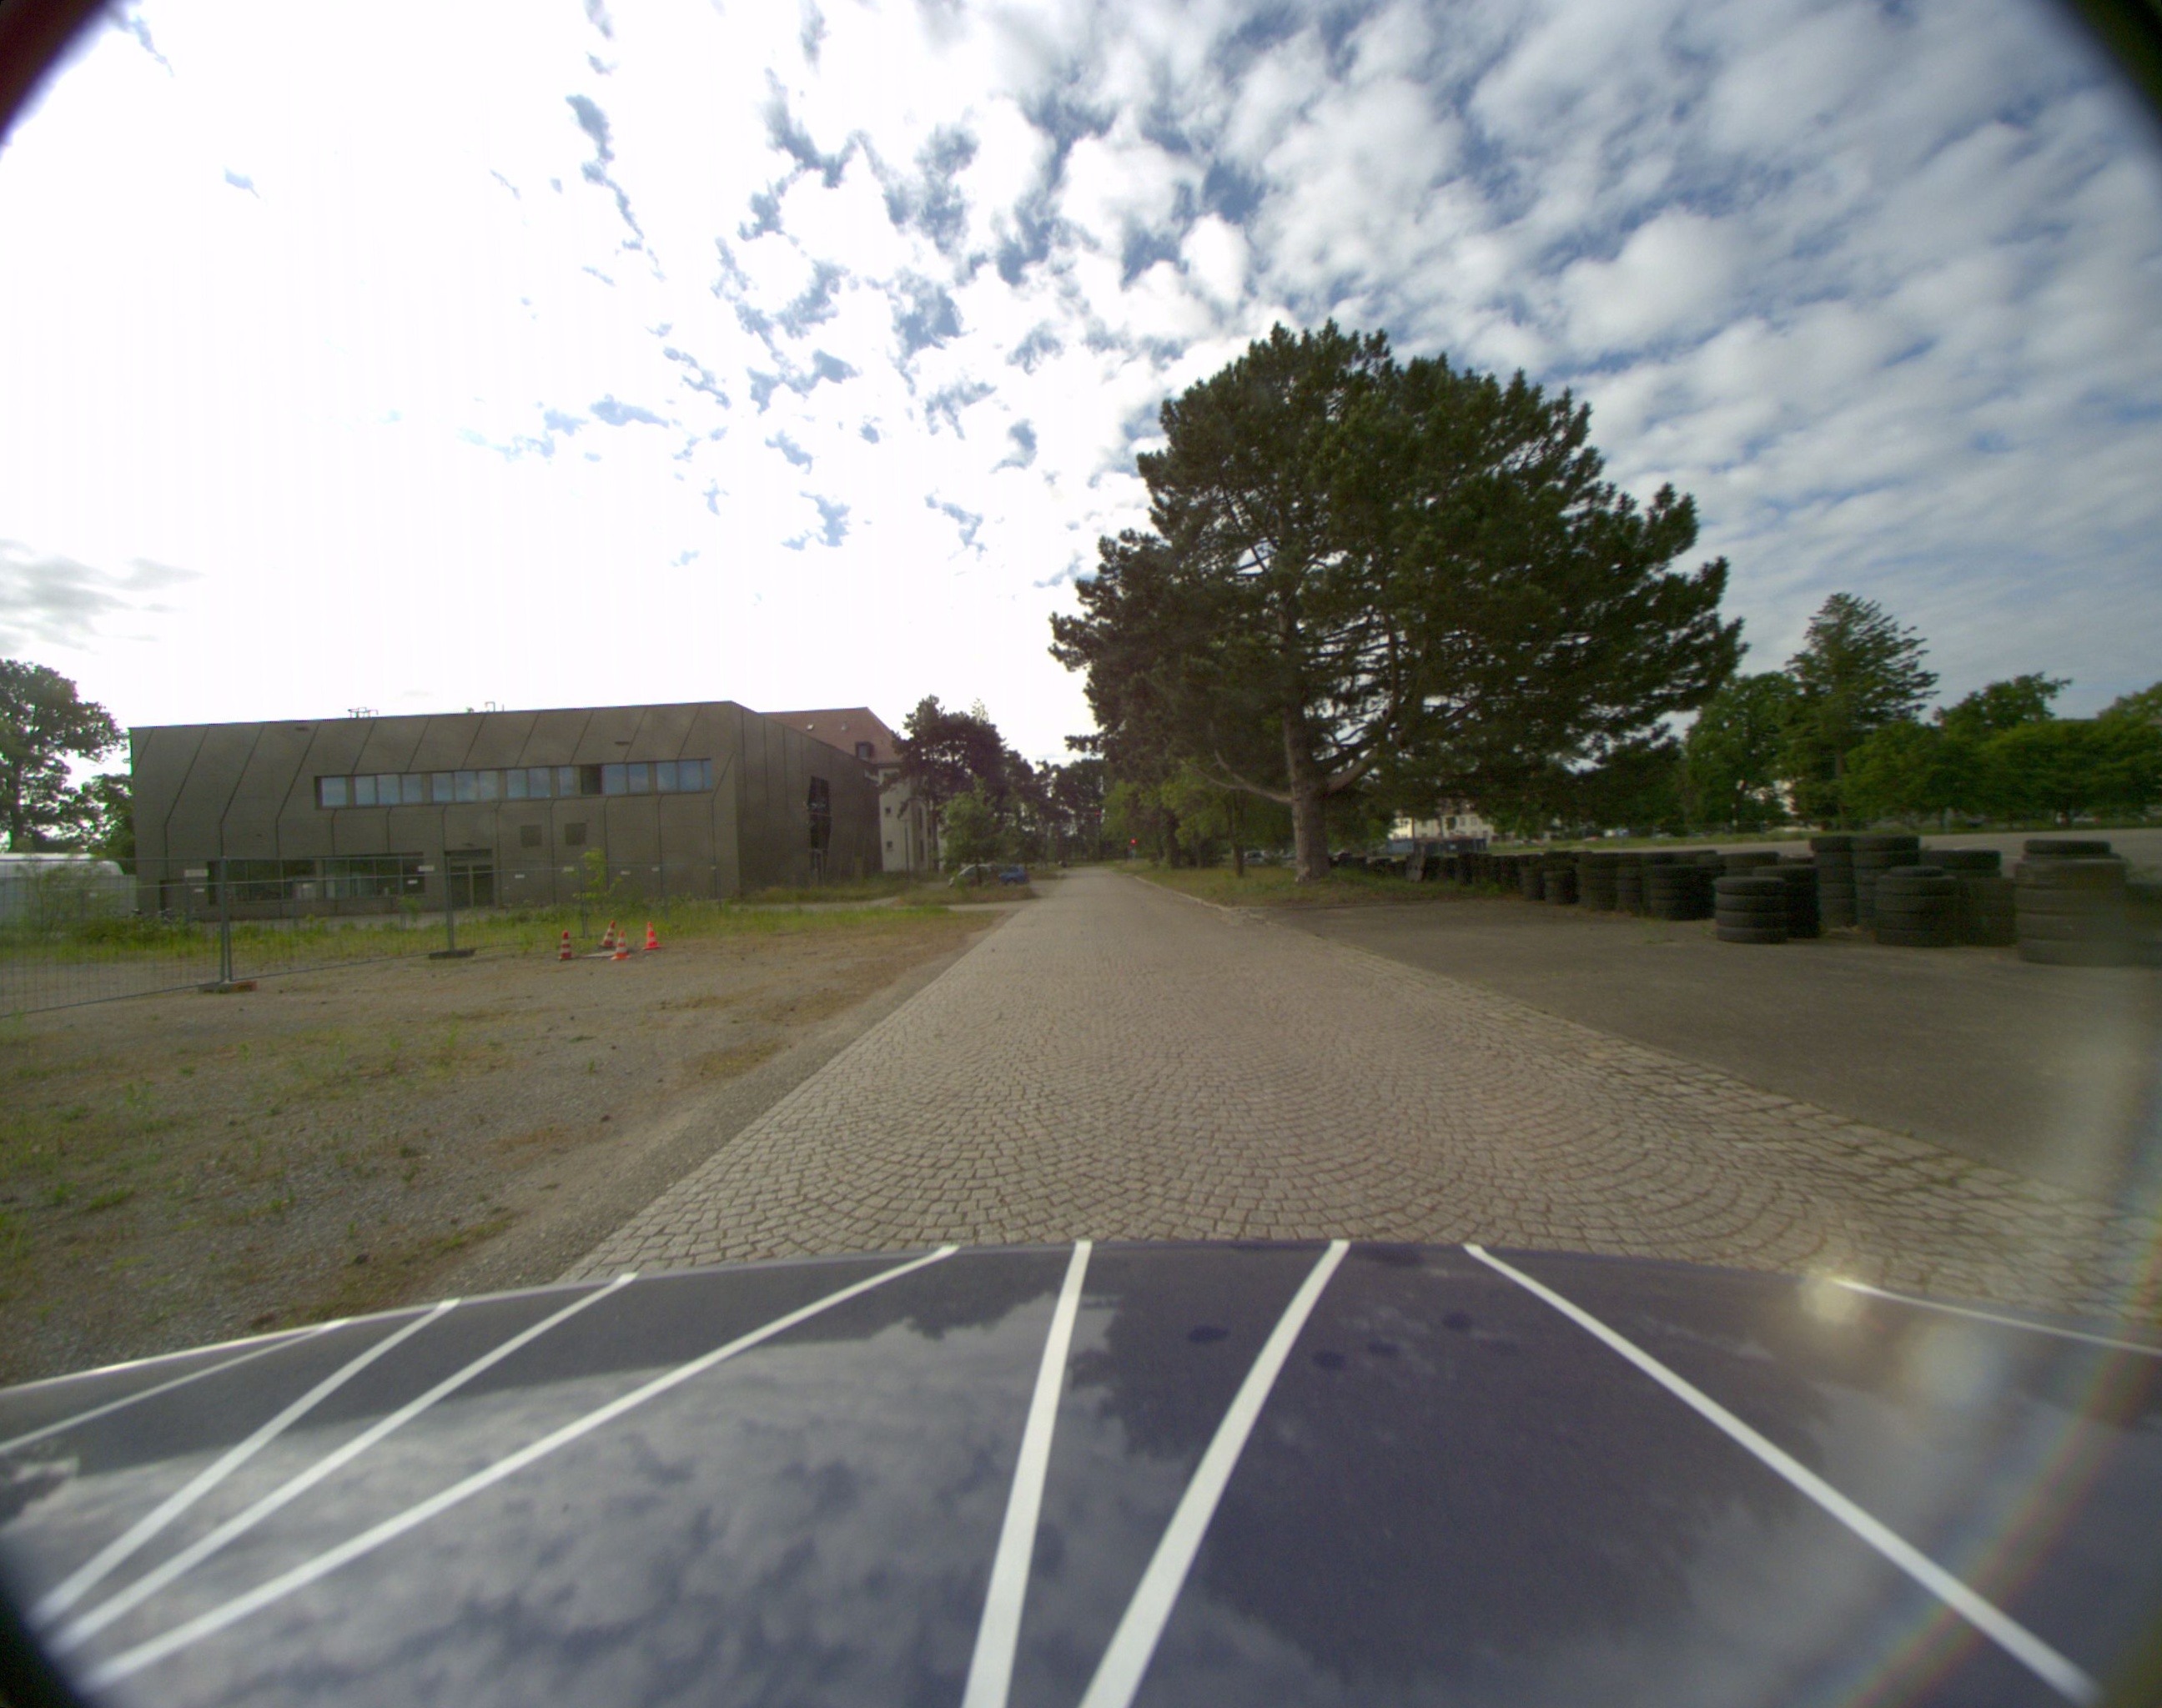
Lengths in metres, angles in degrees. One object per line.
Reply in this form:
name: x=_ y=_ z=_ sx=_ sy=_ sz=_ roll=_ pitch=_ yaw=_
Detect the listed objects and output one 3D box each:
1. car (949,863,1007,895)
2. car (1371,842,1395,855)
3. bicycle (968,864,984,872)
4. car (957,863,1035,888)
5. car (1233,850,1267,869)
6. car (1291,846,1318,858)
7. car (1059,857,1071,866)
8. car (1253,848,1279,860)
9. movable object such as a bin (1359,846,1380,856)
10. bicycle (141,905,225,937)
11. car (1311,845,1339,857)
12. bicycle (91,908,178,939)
car: x=-5.231 y=1.275 z=38.857 sx=2.748 sy=1.573 sz=1.683 roll=0 pitch=0 yaw=0
car: x=43.377 y=-0.761 z=109.193 sx=1.749 sy=1.674 sz=3.803 roll=-3 pitch=0 yaw=-4
bicycle: x=-14.431 y=1.931 z=104.461 sx=2.164 sy=1.088 sz=0.717 roll=-3 pitch=0 yaw=-3
car: x=-5.135 y=1.300 z=46.197 sx=4.537 sy=1.441 sz=1.932 roll=0 pitch=0 yaw=-2
car: x=13.372 y=0.422 z=60.307 sx=1.670 sy=1.402 sz=3.723 roll=-3 pitch=0 yaw=-2
car: x=28.861 y=-0.273 z=98.334 sx=1.999 sy=1.441 sz=4.452 roll=-3 pitch=0 yaw=-3
car: x=-3.410 y=1.607 z=161.681 sx=1.999 sy=1.777 sz=3.998 roll=-3 pitch=0 yaw=-5
car: x=23.773 y=-0.001 z=97.796 sx=1.999 sy=1.441 sz=4.452 roll=-3 pitch=0 yaw=-3
movable object such as a bin: x=32.656 y=-0.377 z=86.027 sx=1.057 sy=1.064 sz=2.719 roll=-3 pitch=0 yaw=-8
bicycle: x=-35.393 y=2.626 z=29.984 sx=0.836 sy=1.019 sz=1.989 roll=-3 pitch=1 yaw=3
car: x=31.743 y=-0.429 z=98.840 sx=1.999 sy=1.441 sz=4.452 roll=-3 pitch=0 yaw=-3
bicycle: x=-37.504 y=2.735 z=30.147 sx=0.836 sy=1.019 sz=1.989 roll=-3 pitch=1 yaw=3
